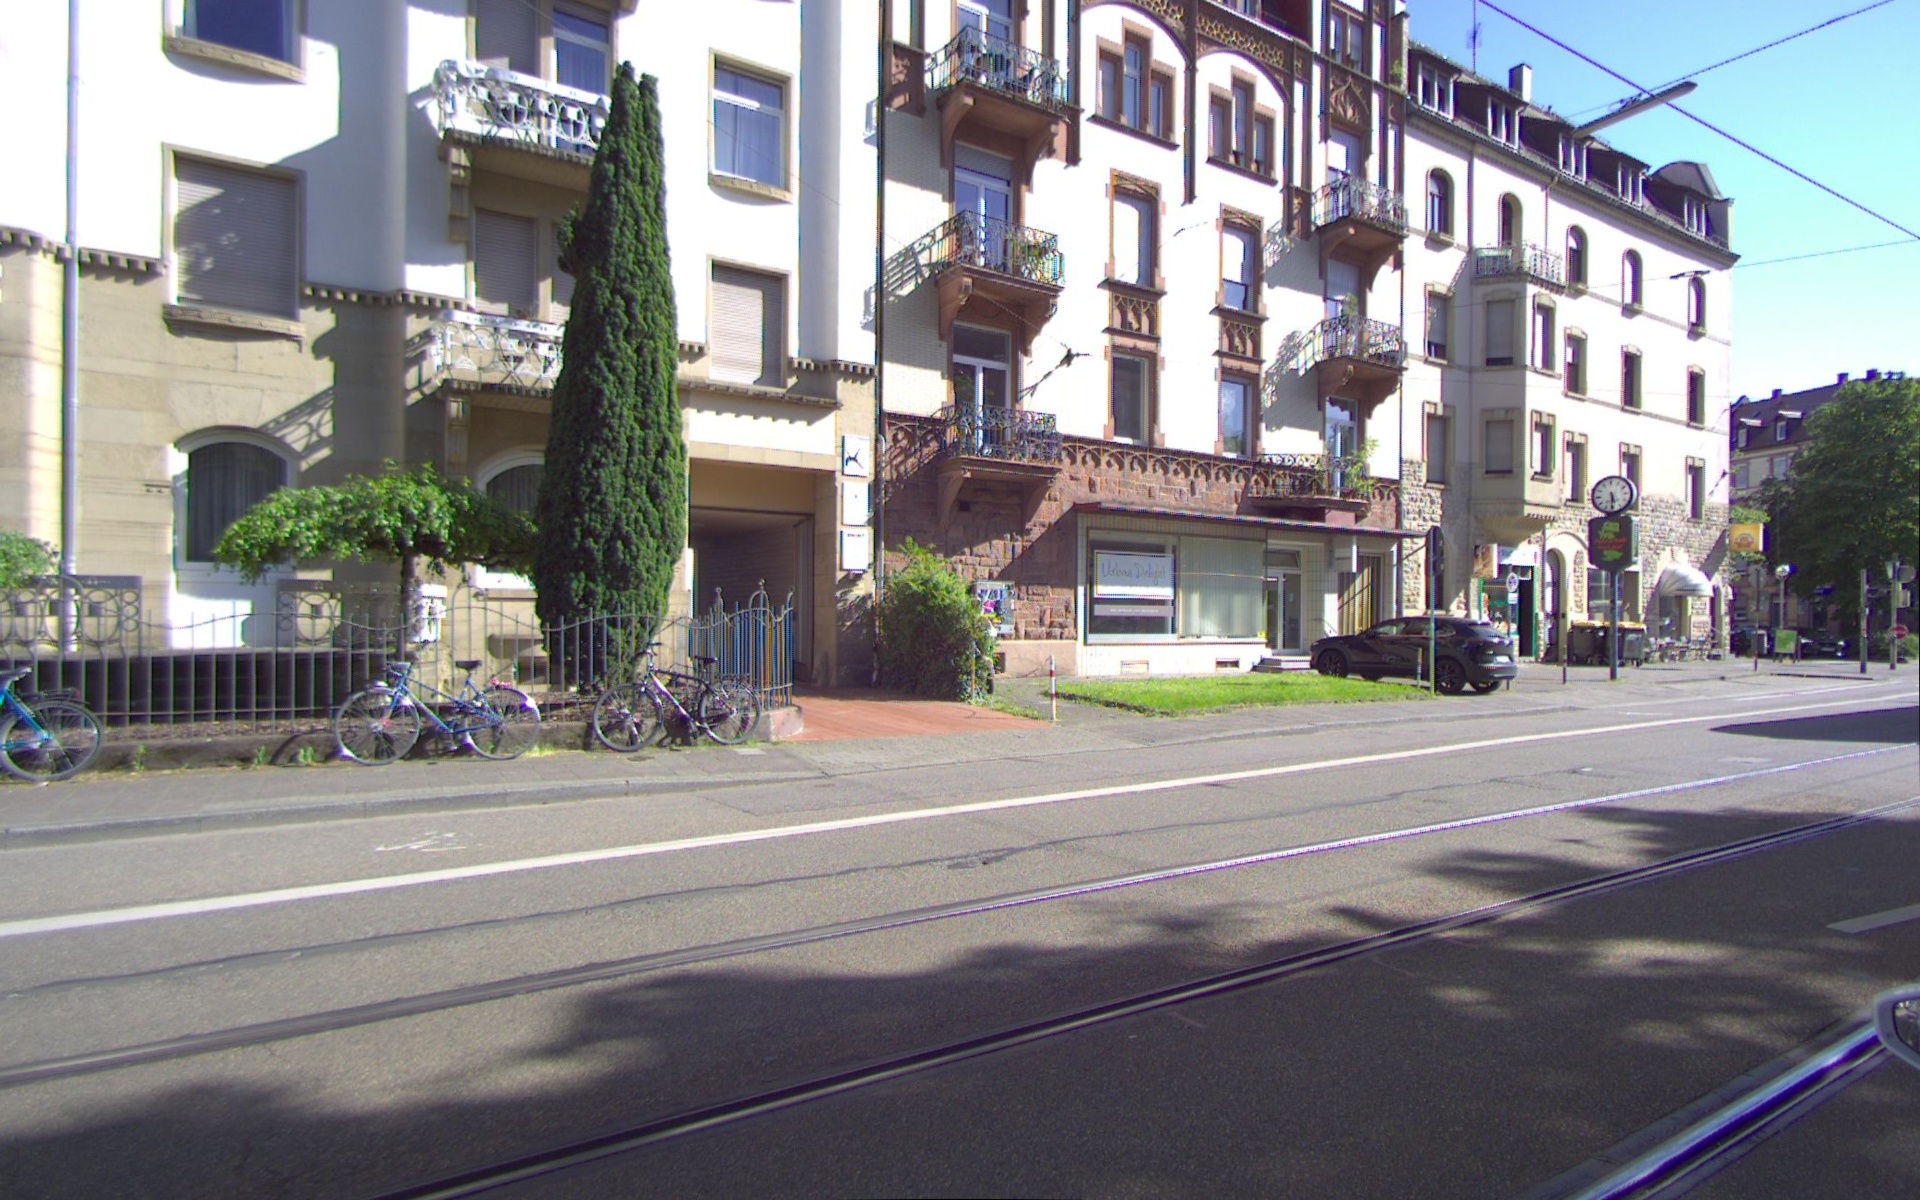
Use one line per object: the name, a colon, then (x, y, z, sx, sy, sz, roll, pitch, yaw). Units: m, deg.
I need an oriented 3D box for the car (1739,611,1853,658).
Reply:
car: (39.312, 1.585, 47.373, 1.961, 2.040, 3.999, 2, 0, -1)

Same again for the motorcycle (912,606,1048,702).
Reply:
motorcycle: (0.273, 0.883, 17.626, 0.814, 1.476, 3.067, 2, 0, -32)

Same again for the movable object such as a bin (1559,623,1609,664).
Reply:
movable object such as a bin: (19.921, 1.390, 32.062, 1.228, 1.239, 0.829, 2, 0, -28)

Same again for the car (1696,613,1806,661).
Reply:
car: (37.063, 1.691, 47.198, 1.961, 2.040, 3.999, 2, 0, -1)

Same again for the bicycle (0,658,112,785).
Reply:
bicycle: (-7.707, 0.936, 7.737, 1.728, 0.955, 0.402, 2, 0, -31)

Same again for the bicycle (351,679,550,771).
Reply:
bicycle: (-4.762, 1.149, 9.459, 1.633, 0.772, 0.316, 2, 0, -31)

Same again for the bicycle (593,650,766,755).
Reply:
bicycle: (-3.005, 1.078, 10.844, 1.728, 1.053, 0.402, 2, 0, -31)

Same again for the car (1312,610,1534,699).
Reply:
car: (9.859, 1.097, 21.651, 1.755, 1.523, 3.958, 2, 1, -36)

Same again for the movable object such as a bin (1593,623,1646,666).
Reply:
movable object such as a bin: (20.610, 1.391, 31.405, 1.128, 1.290, 0.942, 2, 0, -26)
